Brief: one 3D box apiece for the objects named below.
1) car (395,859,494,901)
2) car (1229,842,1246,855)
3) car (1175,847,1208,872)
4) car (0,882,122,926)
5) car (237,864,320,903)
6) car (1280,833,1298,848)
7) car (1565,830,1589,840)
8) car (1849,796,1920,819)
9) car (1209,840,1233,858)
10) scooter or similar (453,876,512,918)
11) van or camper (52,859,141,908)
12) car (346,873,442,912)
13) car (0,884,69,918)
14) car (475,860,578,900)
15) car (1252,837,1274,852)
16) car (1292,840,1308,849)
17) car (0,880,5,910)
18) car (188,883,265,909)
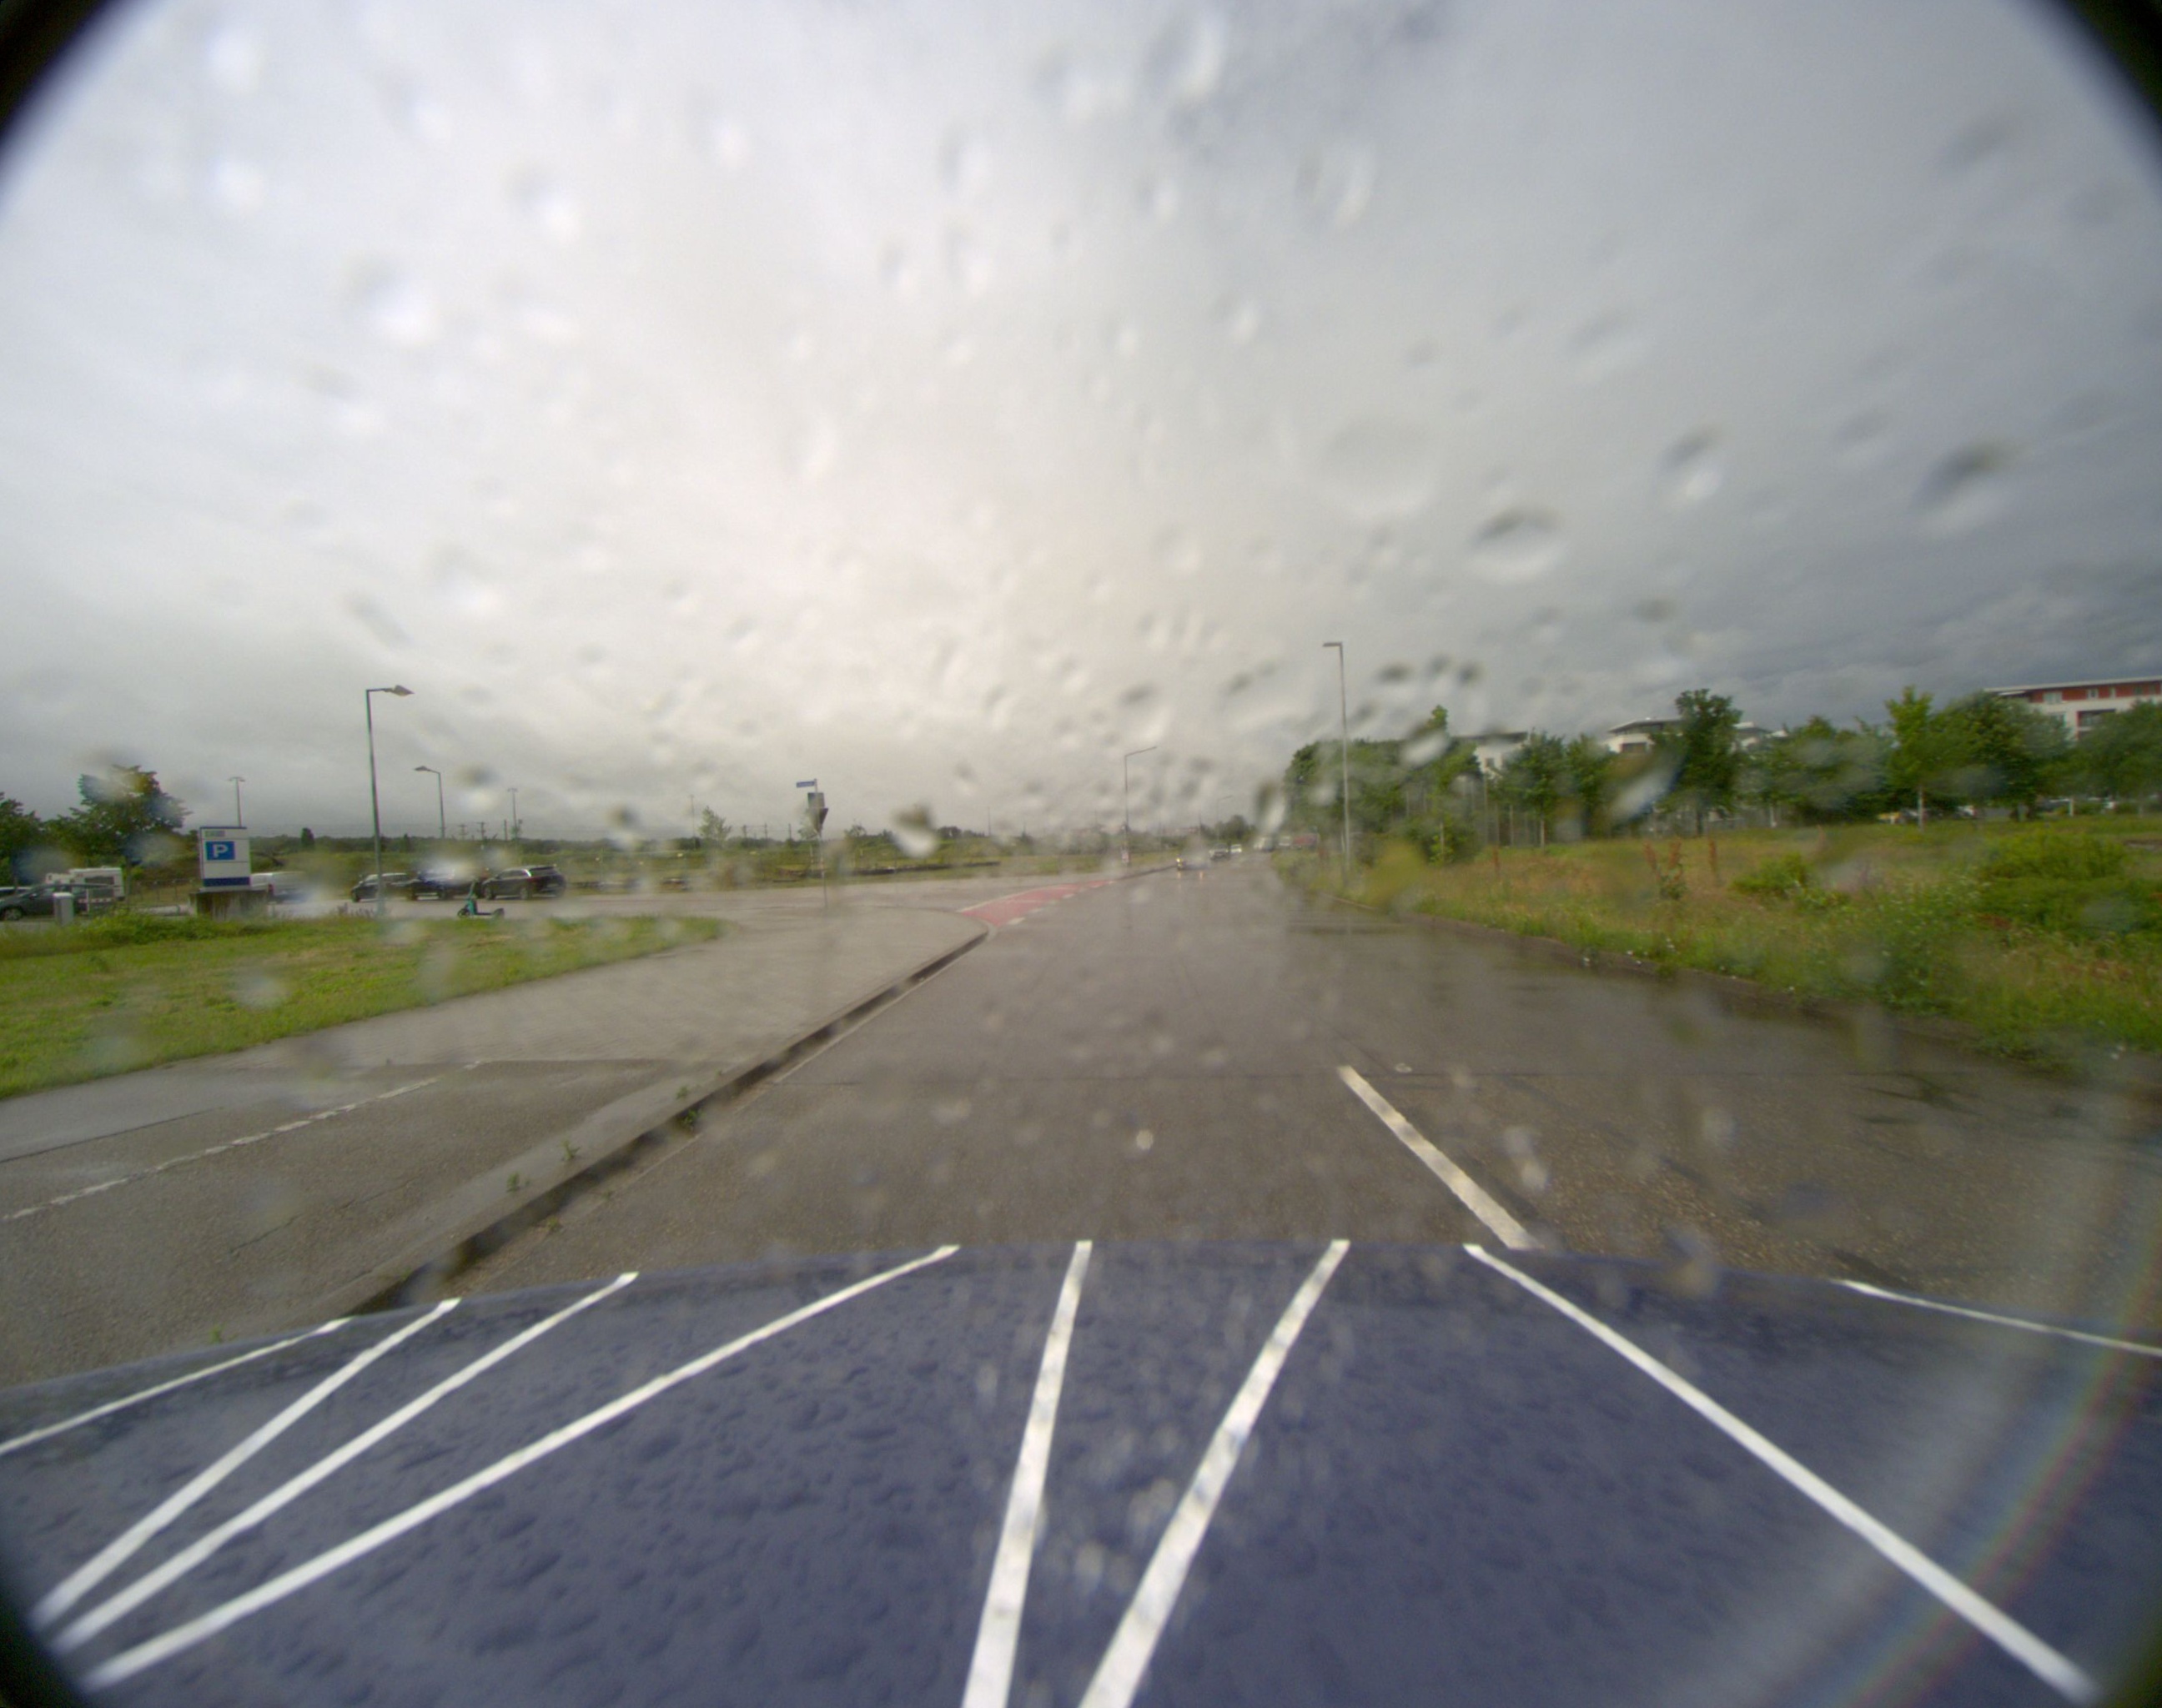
[{"bbox_3d":[-32.258,1.307,38.542,3.992,1.717,2.003,-5,-1,20],"label":"car"},{"bbox_3d":[20.338,-0.759,98.443,1.840,1.510,4.361,-2,1,15],"label":"car"},{"bbox_3d":[7.472,0.335,51.010,1.872,1.510,4.360,-1,1,13],"label":"car"},{"bbox_3d":[-43.487,2.122,31.718,1.782,1.518,3.848,-5,-1,23],"label":"car"},{"bbox_3d":[-48.137,1.784,45.575,4.329,1.761,2.003,-7,-2,25],"label":"car"},{"bbox_3d":[39.596,-2.621,144.688,2.145,2.868,5.284,1,2,28],"label":"car"},{"bbox_3d":[75.944,-2.929,116.315,1.641,1.388,4.188,-4,1,12],"label":"car"},{"bbox_3d":[113.371,-6.522,107.280,6.628,2.599,1.969,-4,1,17],"label":"car"},{"bbox_3d":[14.137,-0.562,76.397,2.008,1.695,4.333,-2,1,15],"label":"car"},{"bbox_3d":[-17.530,1.243,22.262,1.284,1.180,0.503,-1,-1,-6],"label":"scooter or similar"},{"bbox_3d":[-75.937,2.290,58.571,6.786,3.182,2.533,-5,0,24],"label":"van or camper"},{"bbox_3d":[-36.096,2.009,39.955,3.992,1.631,2.003,-5,-1,20],"label":"car"},{"bbox_3d":[-50.089,2.252,34.978,1.765,1.387,3.813,-5,-1,23],"label":"car"},{"bbox_3d":[-26.537,1.240,36.385,3.991,1.609,2.002,-2,3,20],"label":"car"},{"bbox_3d":[30.955,-1.642,129.310,2.093,2.459,5.957,0,2,30],"label":"car"},{"bbox_3d":[39.831,-1.674,138.003,1.838,1.510,4.364,-2,1,27],"label":"car"},{"bbox_3d":[-60.534,2.339,40.156,1.782,1.605,3.848,-5,-1,23],"label":"car"},{"bbox_3d":[-53.903,2.632,47.922,3.991,1.406,2.003,-3,0,24],"label":"car"}]
